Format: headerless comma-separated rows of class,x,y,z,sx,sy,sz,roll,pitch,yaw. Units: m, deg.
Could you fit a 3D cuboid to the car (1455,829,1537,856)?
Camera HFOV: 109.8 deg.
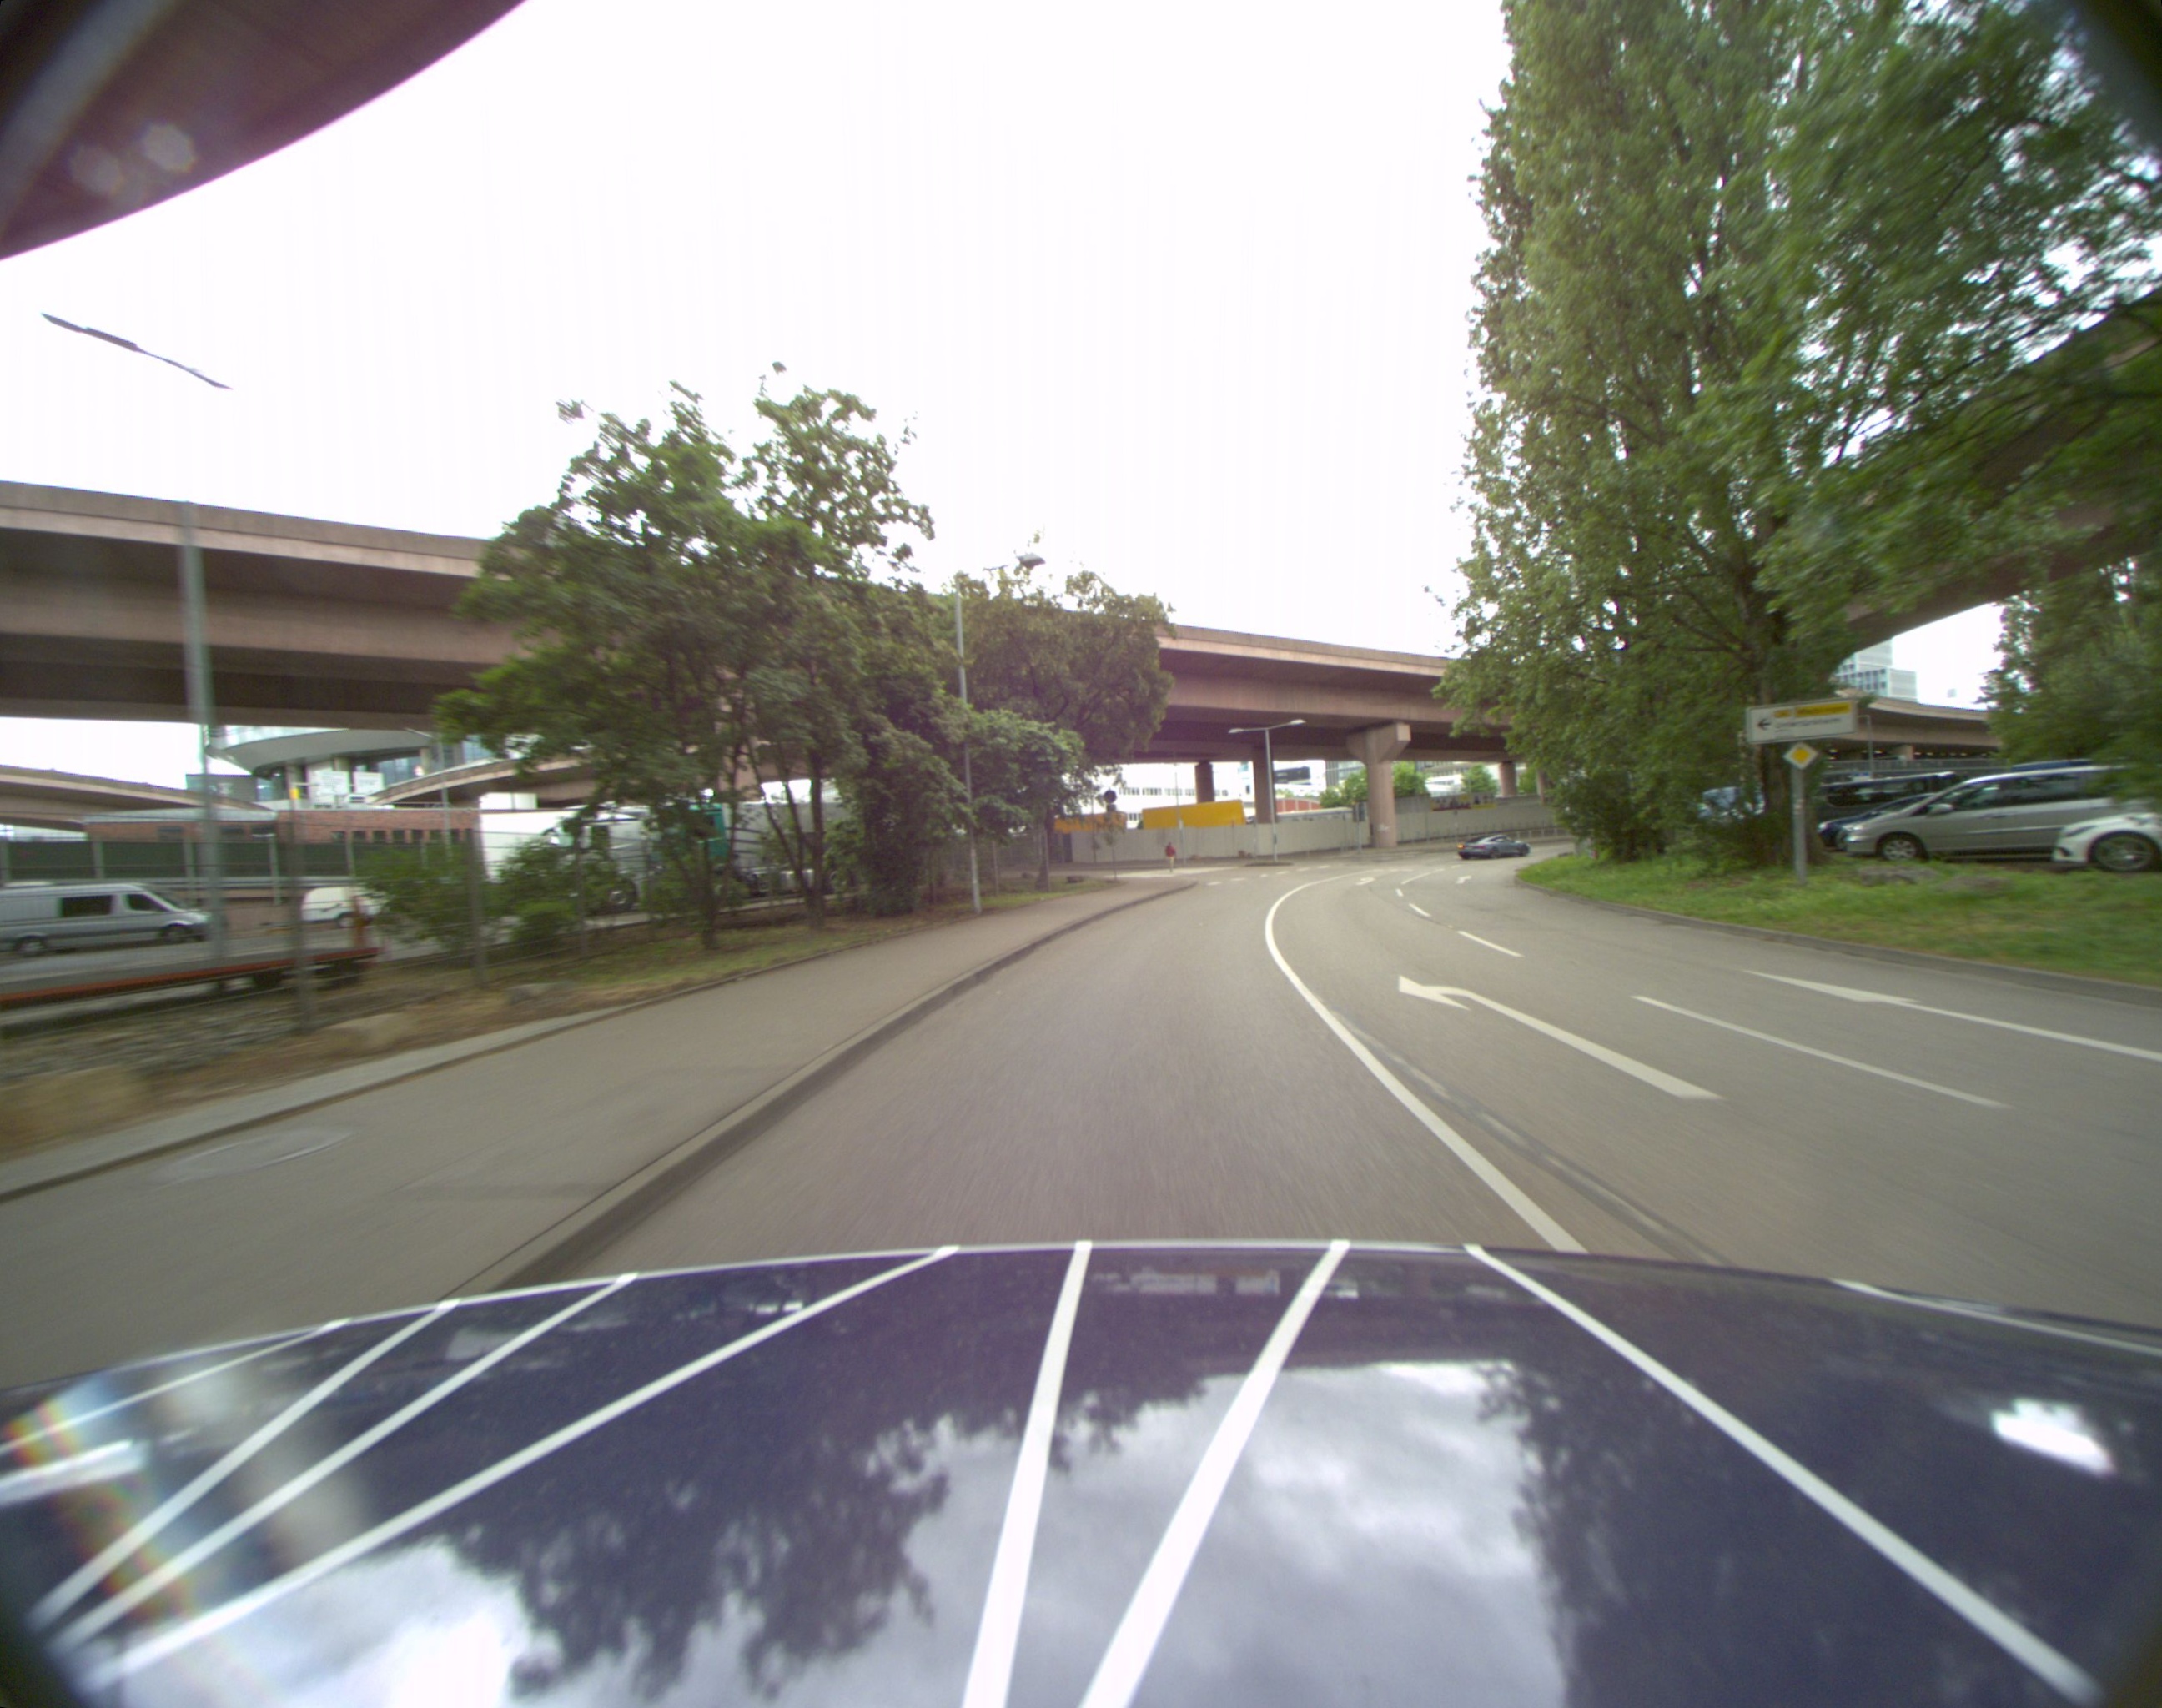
car,24.506,-0.666,44.837,4.761,1.351,1.929,-3,1,-27

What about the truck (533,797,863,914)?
truck,-13.003,-0.150,27.146,2.264,3.478,10.235,-1,2,42

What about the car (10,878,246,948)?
car,-37.014,2.217,29.806,5.171,2.198,2.332,-4,0,-30

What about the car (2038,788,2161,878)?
car,17.681,-0.367,10.981,1.698,1.356,4.507,-4,1,-25

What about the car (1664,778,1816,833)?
car,33.519,-2.373,38.912,1.831,2.566,5.675,-2,2,-21

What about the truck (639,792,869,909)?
truck,-10.552,-0.228,25.047,2.264,3.389,6.424,-1,2,44

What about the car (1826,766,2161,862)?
car,18.436,-0.732,15.253,1.698,1.664,4.667,-4,2,-26

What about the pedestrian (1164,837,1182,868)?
pedestrian,5.110,-0.114,42.321,0.753,1.671,0.855,-2,2,18

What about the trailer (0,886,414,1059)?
trailer,-10.233,1.177,8.172,1.603,1.324,4.386,-2,1,15

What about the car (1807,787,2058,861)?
car,19.951,-0.699,17.986,1.698,1.528,3.619,-4,3,-26

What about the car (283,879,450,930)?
car,-30.995,2.143,33.190,4.880,1.696,2.090,-4,0,-30

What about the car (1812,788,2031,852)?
car,22.166,-0.861,20.191,1.699,1.528,3.618,-2,2,-31

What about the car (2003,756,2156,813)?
car,37.261,-2.564,28.413,3.540,1.789,1.642,-3,1,0

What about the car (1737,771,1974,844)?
car,23.406,-1.337,23.248,1.858,2.002,4.712,-2,2,-23
